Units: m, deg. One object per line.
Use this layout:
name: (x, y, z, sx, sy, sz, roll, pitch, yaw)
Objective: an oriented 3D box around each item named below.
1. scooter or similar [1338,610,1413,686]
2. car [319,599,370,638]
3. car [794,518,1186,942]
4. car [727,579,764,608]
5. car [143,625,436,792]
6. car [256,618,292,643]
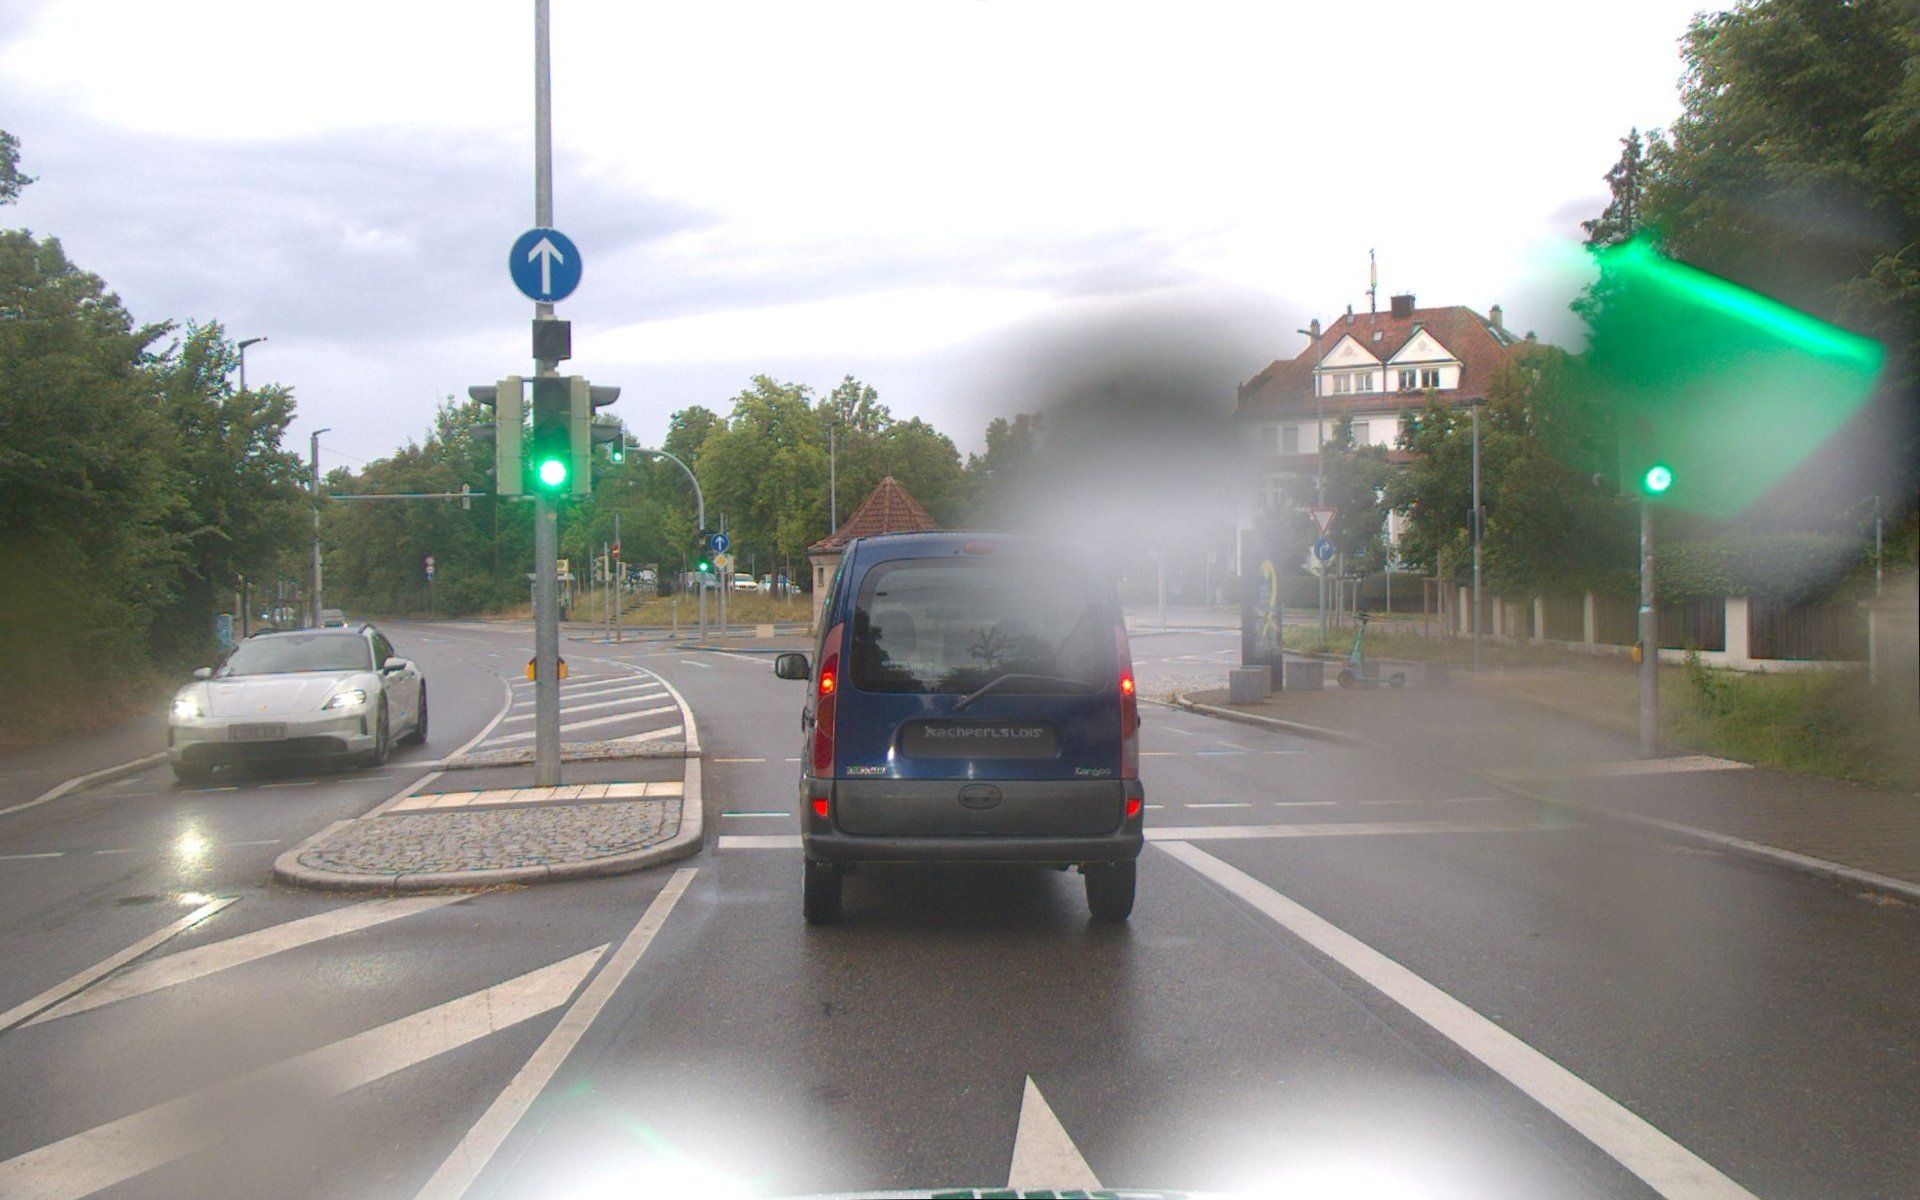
scooter or similar: (6.871, 0.794, 27.359, 1.125, 1.240, 0.405, -1, -1, -2)
car: (-33.227, 1.007, 89.271, 1.973, 2.049, 3.959, 1, -1, -30)
car: (0.046, 0.553, 9.136, 1.697, 1.817, 3.998, 0, 0, -3)
car: (-14.137, -0.410, 109.216, 1.953, 1.844, 3.999, 0, -1, -1)
car: (-6.846, 1.027, 17.404, 1.958, 1.334, 4.348, -3, 1, -11)
car: (-45.192, 1.977, 109.059, 1.964, 1.613, 3.976, 0, -1, -20)
